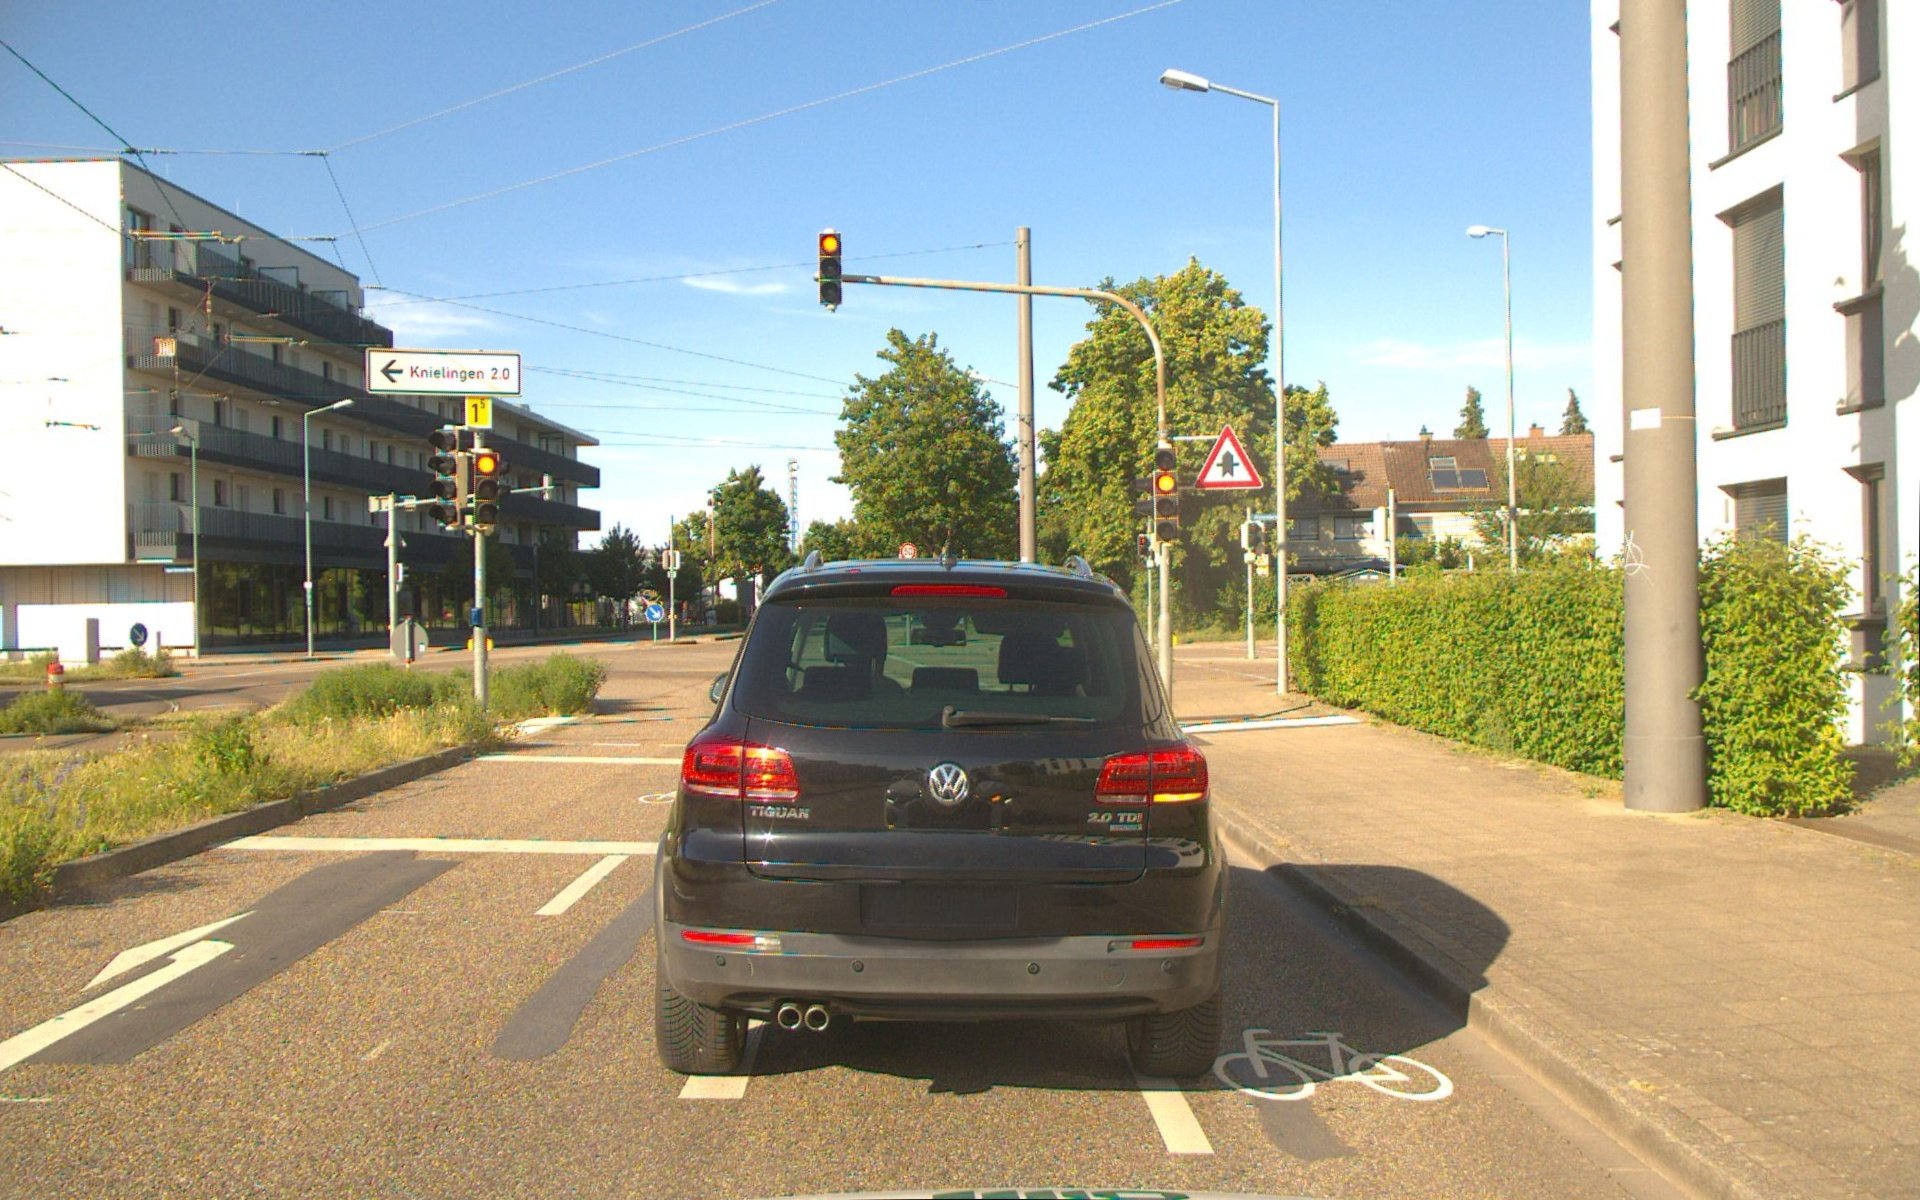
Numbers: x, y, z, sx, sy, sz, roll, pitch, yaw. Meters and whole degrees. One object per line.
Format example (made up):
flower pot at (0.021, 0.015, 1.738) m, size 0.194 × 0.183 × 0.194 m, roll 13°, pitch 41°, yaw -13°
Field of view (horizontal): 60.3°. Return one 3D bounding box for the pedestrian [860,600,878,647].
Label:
pedestrian at (-3.296, 0.842, 59.735) m, size 0.590 × 1.668 × 0.529 m, roll 0°, pitch 0°, yaw 4°

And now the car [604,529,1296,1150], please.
car at (-0.089, 0.645, 6.493) m, size 1.867 × 1.671 × 3.998 m, roll 0°, pitch 0°, yaw -2°

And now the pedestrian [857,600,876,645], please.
pedestrian at (-3.350, 0.791, 59.127) m, size 0.590 × 1.592 × 0.529 m, roll 0°, pitch 0°, yaw 4°

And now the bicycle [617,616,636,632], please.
bicycle at (-17.995, 1.287, 89.341) m, size 0.485 × 0.863 × 2.079 m, roll 0°, pitch 0°, yaw 3°

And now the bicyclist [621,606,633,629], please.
bicyclist at (-18.002, 0.936, 89.292) m, size 0.464 × 1.245 × 0.713 m, roll 0°, pitch 0°, yaw 3°

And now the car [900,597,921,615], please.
car at (-4.047, 0.448, 134.744) m, size 1.716 × 1.411 × 3.998 m, roll 0°, pitch 0°, yaw -2°
